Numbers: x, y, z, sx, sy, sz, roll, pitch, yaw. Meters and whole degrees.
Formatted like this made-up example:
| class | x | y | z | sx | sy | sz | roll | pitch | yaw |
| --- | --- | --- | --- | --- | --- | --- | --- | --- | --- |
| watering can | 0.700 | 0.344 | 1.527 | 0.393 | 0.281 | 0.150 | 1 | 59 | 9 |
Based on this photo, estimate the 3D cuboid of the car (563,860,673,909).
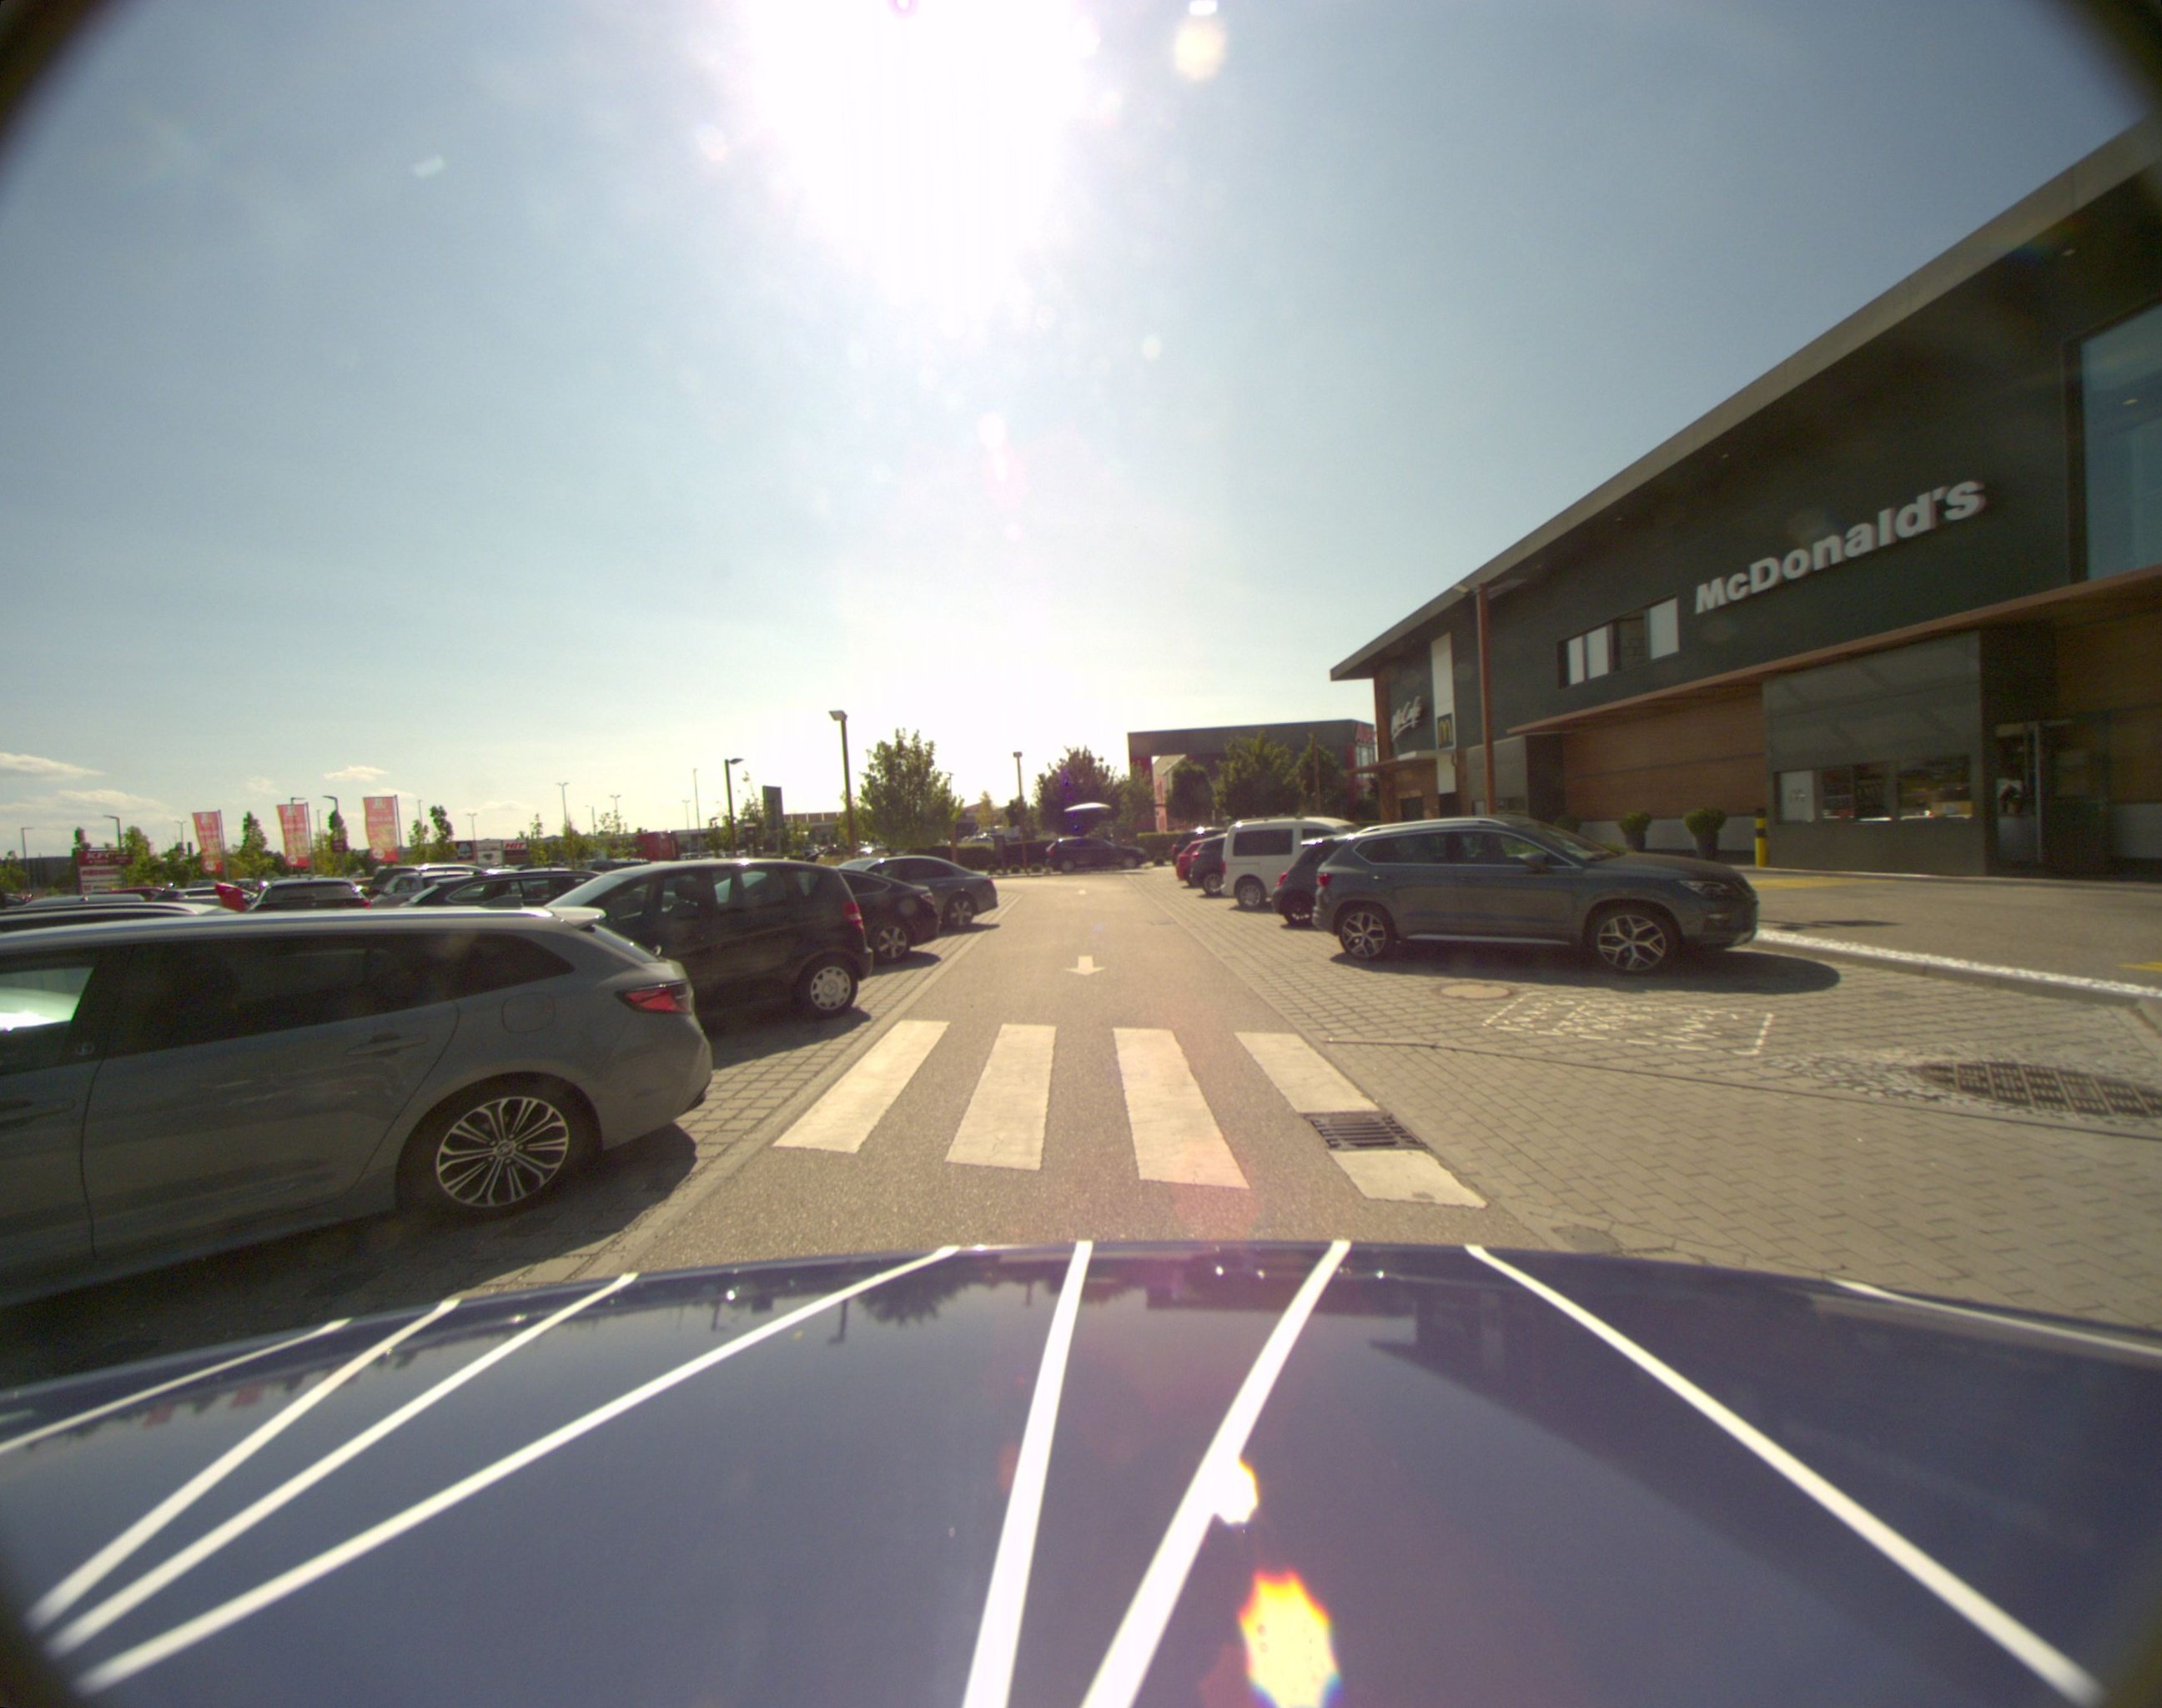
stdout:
| class | x | y | z | sx | sy | sz | roll | pitch | yaw |
| --- | --- | --- | --- | --- | --- | --- | --- | --- | --- |
| car | -16.616 | 1.069 | 27.227 | 4.044 | 1.547 | 1.810 | -2 | 2 | 35 |

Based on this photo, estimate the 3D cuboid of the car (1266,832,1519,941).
| class | x | y | z | sx | sy | sz | roll | pitch | yaw |
| --- | --- | --- | --- | --- | --- | --- | --- | --- | --- |
| car | 4.923 | 0.488 | 12.186 | 3.406 | 1.474 | 1.571 | -2 | 2 | 38 |

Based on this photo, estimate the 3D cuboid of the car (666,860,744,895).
| class | x | y | z | sx | sy | sz | roll | pitch | yaw |
| --- | --- | --- | --- | --- | --- | --- | --- | --- | --- |
| car | -17.177 | 1.052 | 34.636 | 3.765 | 1.414 | 1.917 | -2 | 2 | 44 |

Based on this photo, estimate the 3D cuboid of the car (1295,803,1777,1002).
| class | x | y | z | sx | sy | sz | roll | pitch | yaw |
| --- | --- | --- | --- | --- | --- | --- | --- | --- | --- |
| car | 4.824 | 0.477 | 8.497 | 1.793 | 1.594 | 4.217 | -8 | 3 | -44 |

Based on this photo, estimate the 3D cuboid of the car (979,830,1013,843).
| class | x | y | z | sx | sy | sz | roll | pitch | yaw |
| --- | --- | --- | --- | --- | --- | --- | --- | --- | --- |
| car | -10.365 | -2.110 | 92.874 | 3.905 | 1.335 | 1.665 | -3 | 2 | 0 |

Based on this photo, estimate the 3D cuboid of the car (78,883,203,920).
| class | x | y | z | sx | sy | sz | roll | pitch | yaw |
| --- | --- | --- | --- | --- | --- | --- | --- | --- | --- |
| car | -49.560 | 2.471 | 40.157 | 1.685 | 1.503 | 3.756 | -3 | 2 | 8 |

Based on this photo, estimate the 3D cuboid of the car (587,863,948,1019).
| class | x | y | z | sx | sy | sz | roll | pitch | yaw |
| --- | --- | --- | --- | --- | --- | --- | --- | --- | --- |
| car | -4.079 | 0.985 | 10.348 | 4.083 | 1.441 | 1.823 | -5 | 2 | -44 |

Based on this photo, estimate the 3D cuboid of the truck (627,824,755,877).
| class | x | y | z | sx | sy | sz | roll | pitch | yaw |
| --- | --- | --- | --- | --- | --- | --- | --- | --- | --- |
| truck | -32.493 | -0.306 | 63.448 | 9.118 | 3.845 | 3.211 | -3 | 2 | 8 |

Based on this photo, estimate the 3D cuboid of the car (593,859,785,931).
| class | x | y | z | sx | sy | sz | roll | pitch | yaw |
| --- | --- | --- | --- | --- | --- | --- | --- | --- | --- |
| car | -9.766 | 0.939 | 19.098 | 3.910 | 1.418 | 1.702 | -4 | 2 | -42 |

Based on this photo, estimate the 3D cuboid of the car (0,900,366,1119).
| class | x | y | z | sx | sy | sz | roll | pitch | yaw |
| --- | --- | --- | --- | --- | --- | --- | --- | --- | --- |
| car | -8.703 | 1.273 | 6.155 | 1.788 | 1.400 | 4.089 | -1 | 2 | 44 |

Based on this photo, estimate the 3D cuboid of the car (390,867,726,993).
| class | x | y | z | sx | sy | sz | roll | pitch | yaw |
| --- | --- | --- | --- | --- | --- | --- | --- | --- | --- |
| car | -8.860 | 1.136 | 13.142 | 4.425 | 1.502 | 1.978 | -5 | 2 | -44 |

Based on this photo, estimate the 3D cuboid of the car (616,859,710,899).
| class | x | y | z | sx | sy | sz | roll | pitch | yaw |
| --- | --- | --- | --- | --- | --- | --- | --- | --- | --- |
| car | -17.055 | 1.004 | 30.927 | 4.075 | 1.414 | 1.800 | -2 | 2 | 38 |

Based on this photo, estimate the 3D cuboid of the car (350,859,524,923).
| class | x | y | z | sx | sy | sz | roll | pitch | yaw |
| --- | --- | --- | --- | --- | --- | --- | --- | --- | --- |
| car | -21.869 | 1.187 | 26.086 | 2.071 | 1.740 | 4.366 | -3 | 2 | 1 |

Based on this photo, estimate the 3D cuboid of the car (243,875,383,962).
| class | x | y | z | sx | sy | sz | roll | pitch | yaw |
| --- | --- | --- | --- | --- | --- | --- | --- | --- | --- |
| car | -16.319 | 1.255 | 16.266 | 1.824 | 1.481 | 3.989 | -5 | 2 | -44 |

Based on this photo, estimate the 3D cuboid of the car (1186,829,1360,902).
| class | x | y | z | sx | sy | sz | roll | pitch | yaw |
| --- | --- | --- | --- | --- | --- | --- | --- | --- | --- |
| car | 4.835 | 0.295 | 19.253 | 3.834 | 1.623 | 1.761 | -2 | 2 | 34 |

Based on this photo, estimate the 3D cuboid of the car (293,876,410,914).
| class | x | y | z | sx | sy | sz | roll | pitch | yaw |
| --- | --- | --- | --- | --- | --- | --- | --- | --- | --- |
| car | -35.303 | 1.951 | 36.900 | 1.685 | 1.446 | 3.756 | -3 | 2 | 8 |

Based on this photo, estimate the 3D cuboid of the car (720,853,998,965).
| class | x | y | z | sx | sy | sz | roll | pitch | yaw |
| --- | --- | --- | --- | --- | --- | --- | --- | --- | --- |
| car | -3.982 | 0.881 | 14.197 | 4.550 | 1.502 | 1.882 | -5 | 2 | -44 |

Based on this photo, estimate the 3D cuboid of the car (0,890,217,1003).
| class | x | y | z | sx | sy | sz | roll | pitch | yaw |
| --- | --- | --- | --- | --- | --- | --- | --- | --- | --- |
| car | -16.085 | 1.412 | 12.797 | 3.989 | 1.395 | 1.824 | -1 | 2 | 43 |

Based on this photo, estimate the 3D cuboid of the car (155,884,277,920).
| class | x | y | z | sx | sy | sz | roll | pitch | yaw |
| --- | --- | --- | --- | --- | --- | --- | --- | --- | --- |
| car | -44.682 | 2.445 | 39.376 | 1.685 | 1.446 | 3.756 | -3 | 2 | 8 |

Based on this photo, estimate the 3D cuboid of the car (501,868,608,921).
| class | x | y | z | sx | sy | sz | roll | pitch | yaw |
| --- | --- | --- | --- | --- | --- | --- | --- | --- | --- |
| car | -16.451 | 1.195 | 23.635 | 4.669 | 1.403 | 1.715 | -1 | 2 | 43 |

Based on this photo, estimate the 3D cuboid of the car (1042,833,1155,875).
| class | x | y | z | sx | sy | sz | roll | pitch | yaw |
| --- | --- | --- | --- | --- | --- | --- | --- | --- | --- |
| car | 0.778 | -0.025 | 35.505 | 5.061 | 1.621 | 1.924 | -3 | 2 | -2 |

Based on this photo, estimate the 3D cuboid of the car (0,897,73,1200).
| class | x | y | z | sx | sy | sz | roll | pitch | yaw |
| --- | --- | --- | --- | --- | --- | --- | --- | --- | --- |
| car | -7.881 | 1.191 | 3.196 | 4.074 | 1.631 | 1.743 | -4 | 2 | -44 |

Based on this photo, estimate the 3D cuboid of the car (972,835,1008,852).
| class | x | y | z | sx | sy | sz | roll | pitch | yaw |
| --- | --- | --- | --- | --- | --- | --- | --- | --- | --- |
| car | -10.473 | -1.197 | 87.857 | 3.998 | 1.718 | 1.893 | -3 | 2 | -4 |

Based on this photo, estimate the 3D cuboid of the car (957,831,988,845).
| class | x | y | z | sx | sy | sz | roll | pitch | yaw |
| --- | --- | --- | --- | --- | --- | --- | --- | --- | --- |
| car | -15.351 | -2.294 | 107.726 | 1.889 | 1.718 | 4.264 | -2 | 2 | 32 |

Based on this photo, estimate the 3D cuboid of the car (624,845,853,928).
| class | x | y | z | sx | sy | sz | roll | pitch | yaw |
| --- | --- | --- | --- | --- | --- | --- | --- | --- | --- |
| car | -7.934 | 0.663 | 17.890 | 4.425 | 1.502 | 1.978 | -5 | 2 | -44 |

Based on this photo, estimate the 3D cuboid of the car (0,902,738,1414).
| class | x | y | z | sx | sy | sz | roll | pitch | yaw |
| --- | --- | --- | --- | --- | --- | --- | --- | --- | --- |
| car | -4.166 | 1.108 | 3.078 | 4.671 | 1.438 | 1.830 | -3 | 1 | -43 |

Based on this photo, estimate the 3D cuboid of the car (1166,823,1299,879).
| class | x | y | z | sx | sy | sz | roll | pitch | yaw |
| --- | --- | --- | --- | --- | --- | --- | --- | --- | --- |
| car | 5.142 | -0.078 | 26.022 | 4.028 | 1.696 | 1.678 | -2 | 2 | 36 |

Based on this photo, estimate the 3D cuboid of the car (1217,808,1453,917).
| class | x | y | z | sx | sy | sz | roll | pitch | yaw |
| --- | --- | --- | --- | --- | --- | --- | --- | --- | --- |
| car | 5.070 | 0.161 | 15.467 | 4.133 | 1.911 | 1.761 | -2 | 2 | 40 |

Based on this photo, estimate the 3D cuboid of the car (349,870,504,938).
| class | x | y | z | sx | sy | sz | roll | pitch | yaw |
| --- | --- | --- | --- | --- | --- | --- | --- | --- | --- |
| car | -17.203 | 1.262 | 19.925 | 4.341 | 1.503 | 1.782 | -2 | 2 | 32 |

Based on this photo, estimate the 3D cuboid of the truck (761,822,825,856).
| class | x | y | z | sx | sy | sz | roll | pitch | yaw |
| --- | --- | --- | --- | --- | --- | --- | --- | --- | --- |
| truck | -31.571 | -1.618 | 83.205 | 7.545 | 3.333 | 2.426 | -1 | 3 | 33 |

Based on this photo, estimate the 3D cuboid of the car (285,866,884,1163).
| class | x | y | z | sx | sy | sz | roll | pitch | yaw |
| --- | --- | --- | --- | --- | --- | --- | --- | --- | --- |
| car | -4.051 | 1.032 | 6.739 | 4.007 | 1.584 | 1.807 | -5 | 2 | -44 |

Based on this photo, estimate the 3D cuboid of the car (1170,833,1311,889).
| class | x | y | z | sx | sy | sz | roll | pitch | yaw |
| --- | --- | --- | --- | --- | --- | --- | --- | --- | --- |
| car | 4.803 | 0.208 | 22.883 | 3.763 | 1.436 | 1.677 | -3 | 2 | 28 |

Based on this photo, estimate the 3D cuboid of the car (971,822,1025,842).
| class | x | y | z | sx | sy | sz | roll | pitch | yaw |
| --- | --- | --- | --- | --- | --- | --- | --- | --- | --- |
| car | -10.427 | -2.782 | 95.883 | 6.567 | 2.232 | 2.300 | -3 | 2 | 0 |

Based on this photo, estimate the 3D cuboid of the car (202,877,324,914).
| class | x | y | z | sx | sy | sz | roll | pitch | yaw |
| --- | --- | --- | --- | --- | --- | --- | --- | --- | --- |
| car | -40.659 | 2.041 | 37.914 | 1.685 | 1.446 | 3.756 | -3 | 2 | 8 |

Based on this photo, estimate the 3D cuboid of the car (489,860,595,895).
| class | x | y | z | sx | sy | sz | roll | pitch | yaw |
| --- | --- | --- | --- | --- | --- | --- | --- | --- | --- |
| car | -26.567 | 1.141 | 37.650 | 1.886 | 1.390 | 4.156 | -3 | 2 | 8 |
